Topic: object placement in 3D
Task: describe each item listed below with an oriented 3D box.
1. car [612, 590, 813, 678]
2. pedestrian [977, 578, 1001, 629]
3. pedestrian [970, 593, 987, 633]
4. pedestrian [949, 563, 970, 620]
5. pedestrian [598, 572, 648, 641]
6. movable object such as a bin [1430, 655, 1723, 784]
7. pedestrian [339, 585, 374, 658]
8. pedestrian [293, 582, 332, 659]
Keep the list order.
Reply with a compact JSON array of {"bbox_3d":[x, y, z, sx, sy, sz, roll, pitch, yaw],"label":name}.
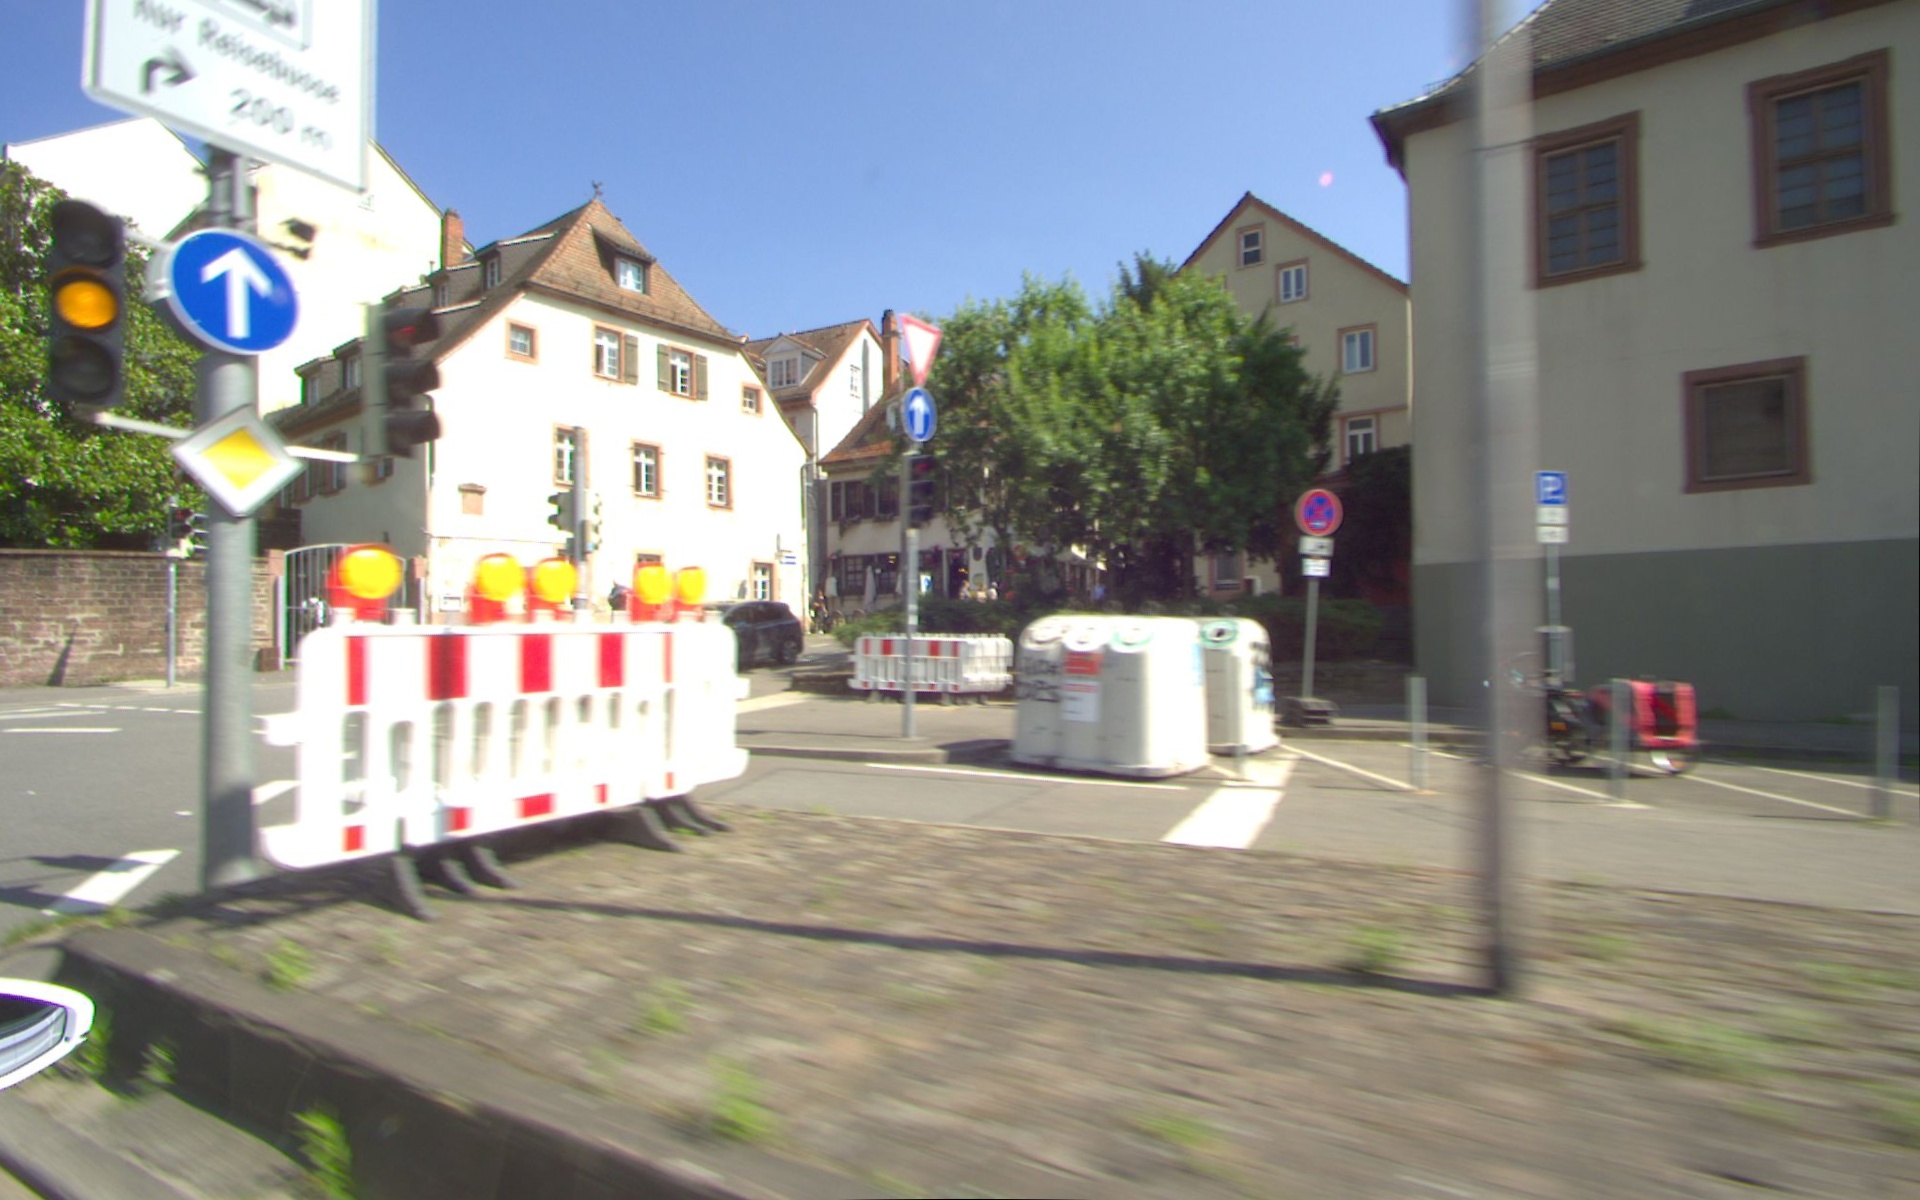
[{"bbox_3d":[-5.101,0.628,21.108,1.833,1.507,3.978,4,4,31],"label":"car"},{"bbox_3d":[1.000,0.118,34.313,0.654,1.705,0.451,0,4,35],"label":"pedestrian"},{"bbox_3d":[0.629,0.431,33.455,0.437,1.294,0.331,0,3,35],"label":"pedestrian"},{"bbox_3d":[-0.012,-0.284,32.731,0.429,1.813,0.483,0,4,35],"label":"pedestrian"},{"bbox_3d":[-9.030,0.164,26.846,0.852,1.817,0.921,0,2,35],"label":"pedestrian"},{"bbox_3d":[6.501,1.198,10.906,1.234,1.124,2.957,0,-1,-4],"label":"movable object such as a bin"},{"bbox_3d":[-14.544,0.510,24.152,0.698,1.728,0.722,0,0,-30],"label":"pedestrian"},{"bbox_3d":[-14.714,0.461,22.765,0.716,1.728,0.703,0,0,-35],"label":"pedestrian"}]
